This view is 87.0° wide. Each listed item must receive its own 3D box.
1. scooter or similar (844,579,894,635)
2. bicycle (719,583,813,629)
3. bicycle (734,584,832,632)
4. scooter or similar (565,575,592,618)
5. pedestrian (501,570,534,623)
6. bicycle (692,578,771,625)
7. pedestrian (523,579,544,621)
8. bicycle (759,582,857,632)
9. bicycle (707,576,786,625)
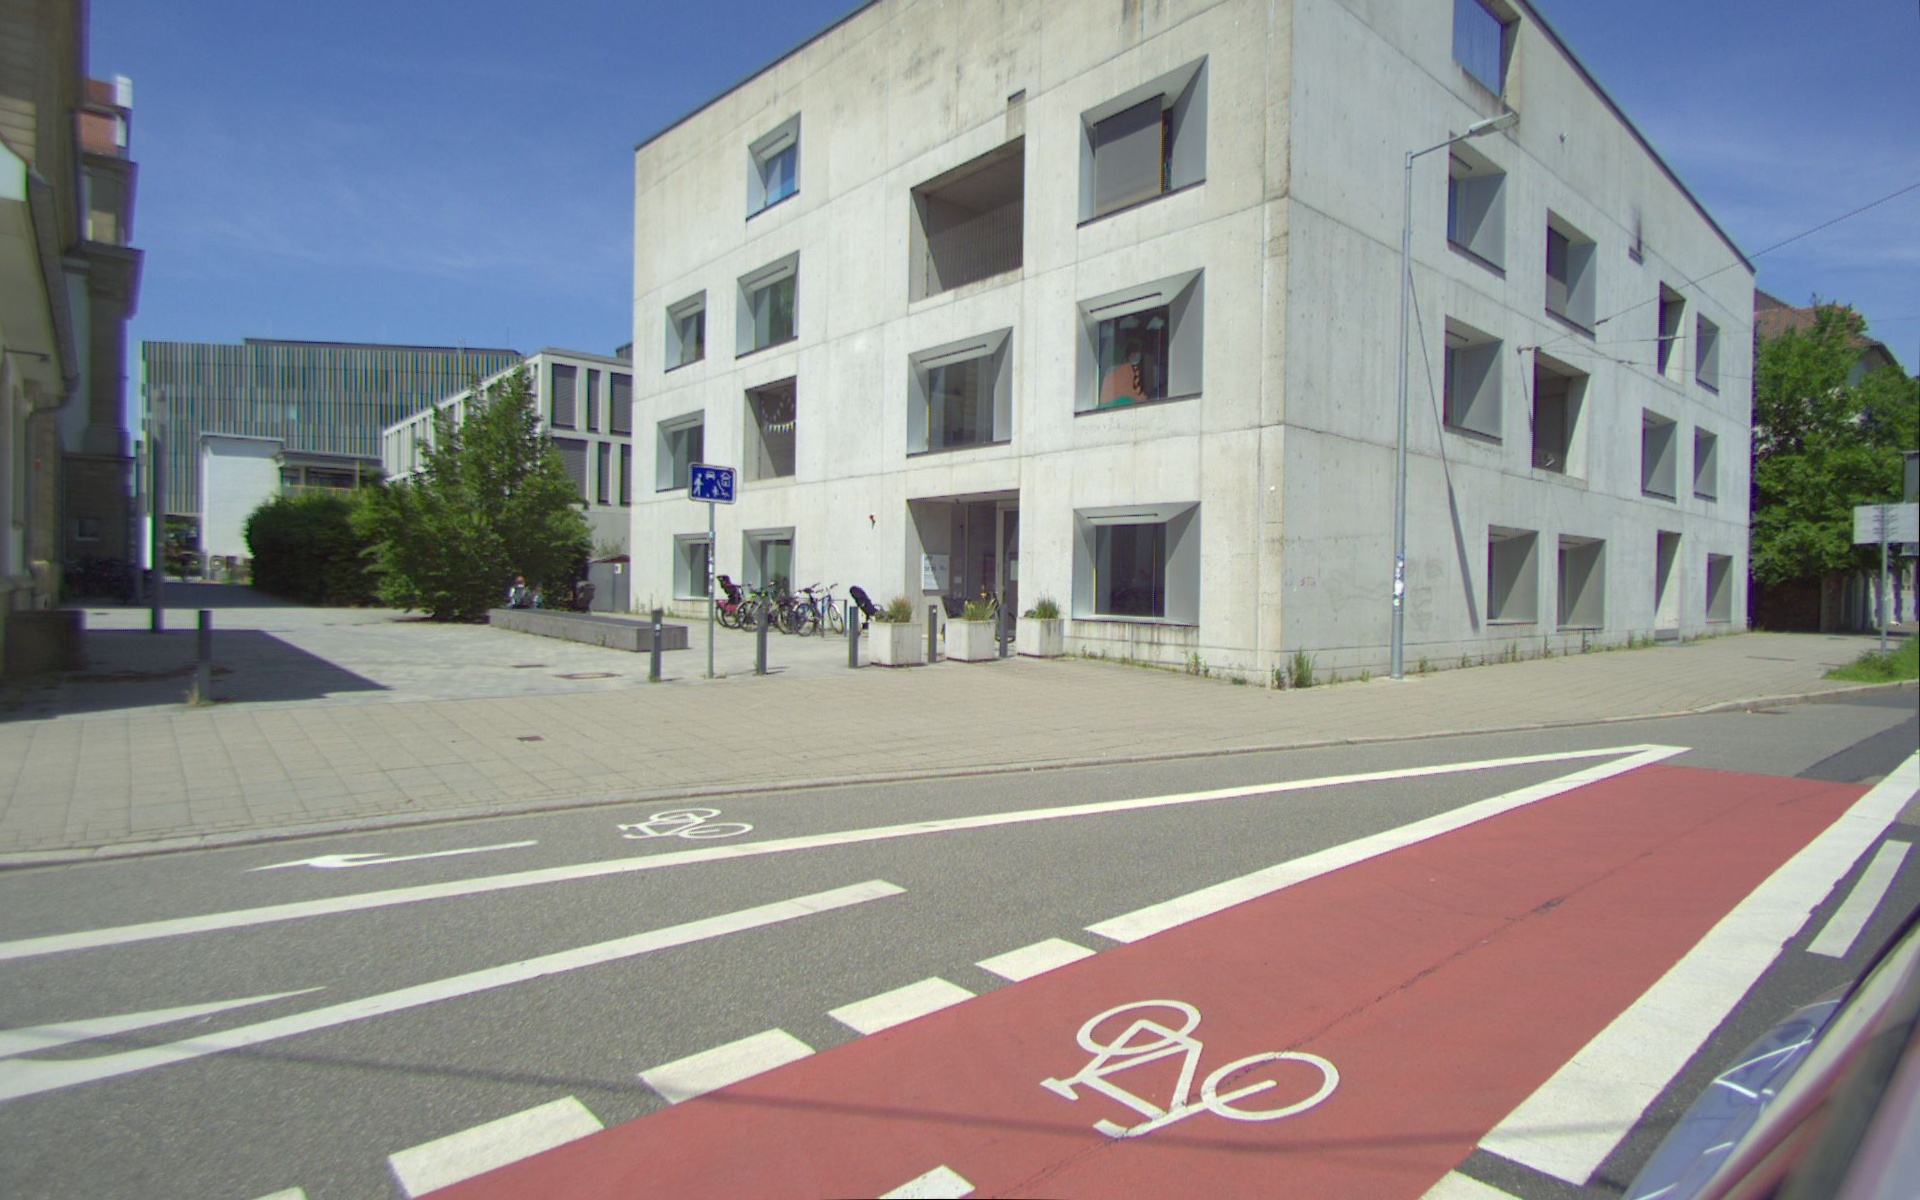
[{"bbox_3d":[-1.909,0.128,21.295,0.532,1.154,0.949,1,1,43],"label":"scooter or similar"},{"bbox_3d":[-4.426,0.110,23.259,0.650,0.997,2.166,1,2,42],"label":"bicycle"},{"bbox_3d":[-3.867,0.161,22.273,0.650,0.997,2.166,1,2,42],"label":"bicycle"},{"bbox_3d":[-9.924,-0.093,26.330,0.516,1.098,0.577,-1,1,-36],"label":"scooter or similar"},{"bbox_3d":[-10.849,-0.094,24.819,0.622,1.265,0.647,-1,1,-36],"label":"pedestrian"},{"bbox_3d":[-5.655,0.021,25.151,0.650,1.129,1.901,1,2,42],"label":"bicycle"},{"bbox_3d":[-10.769,-0.004,25.572,0.460,1.057,0.515,0,1,-22],"label":"pedestrian"},{"bbox_3d":[-3.236,0.124,21.723,0.650,1.016,2.166,1,2,42],"label":"bicycle"},{"bbox_3d":[-5.178,0.003,24.595,0.650,1.146,1.859,1,2,43],"label":"bicycle"}]
